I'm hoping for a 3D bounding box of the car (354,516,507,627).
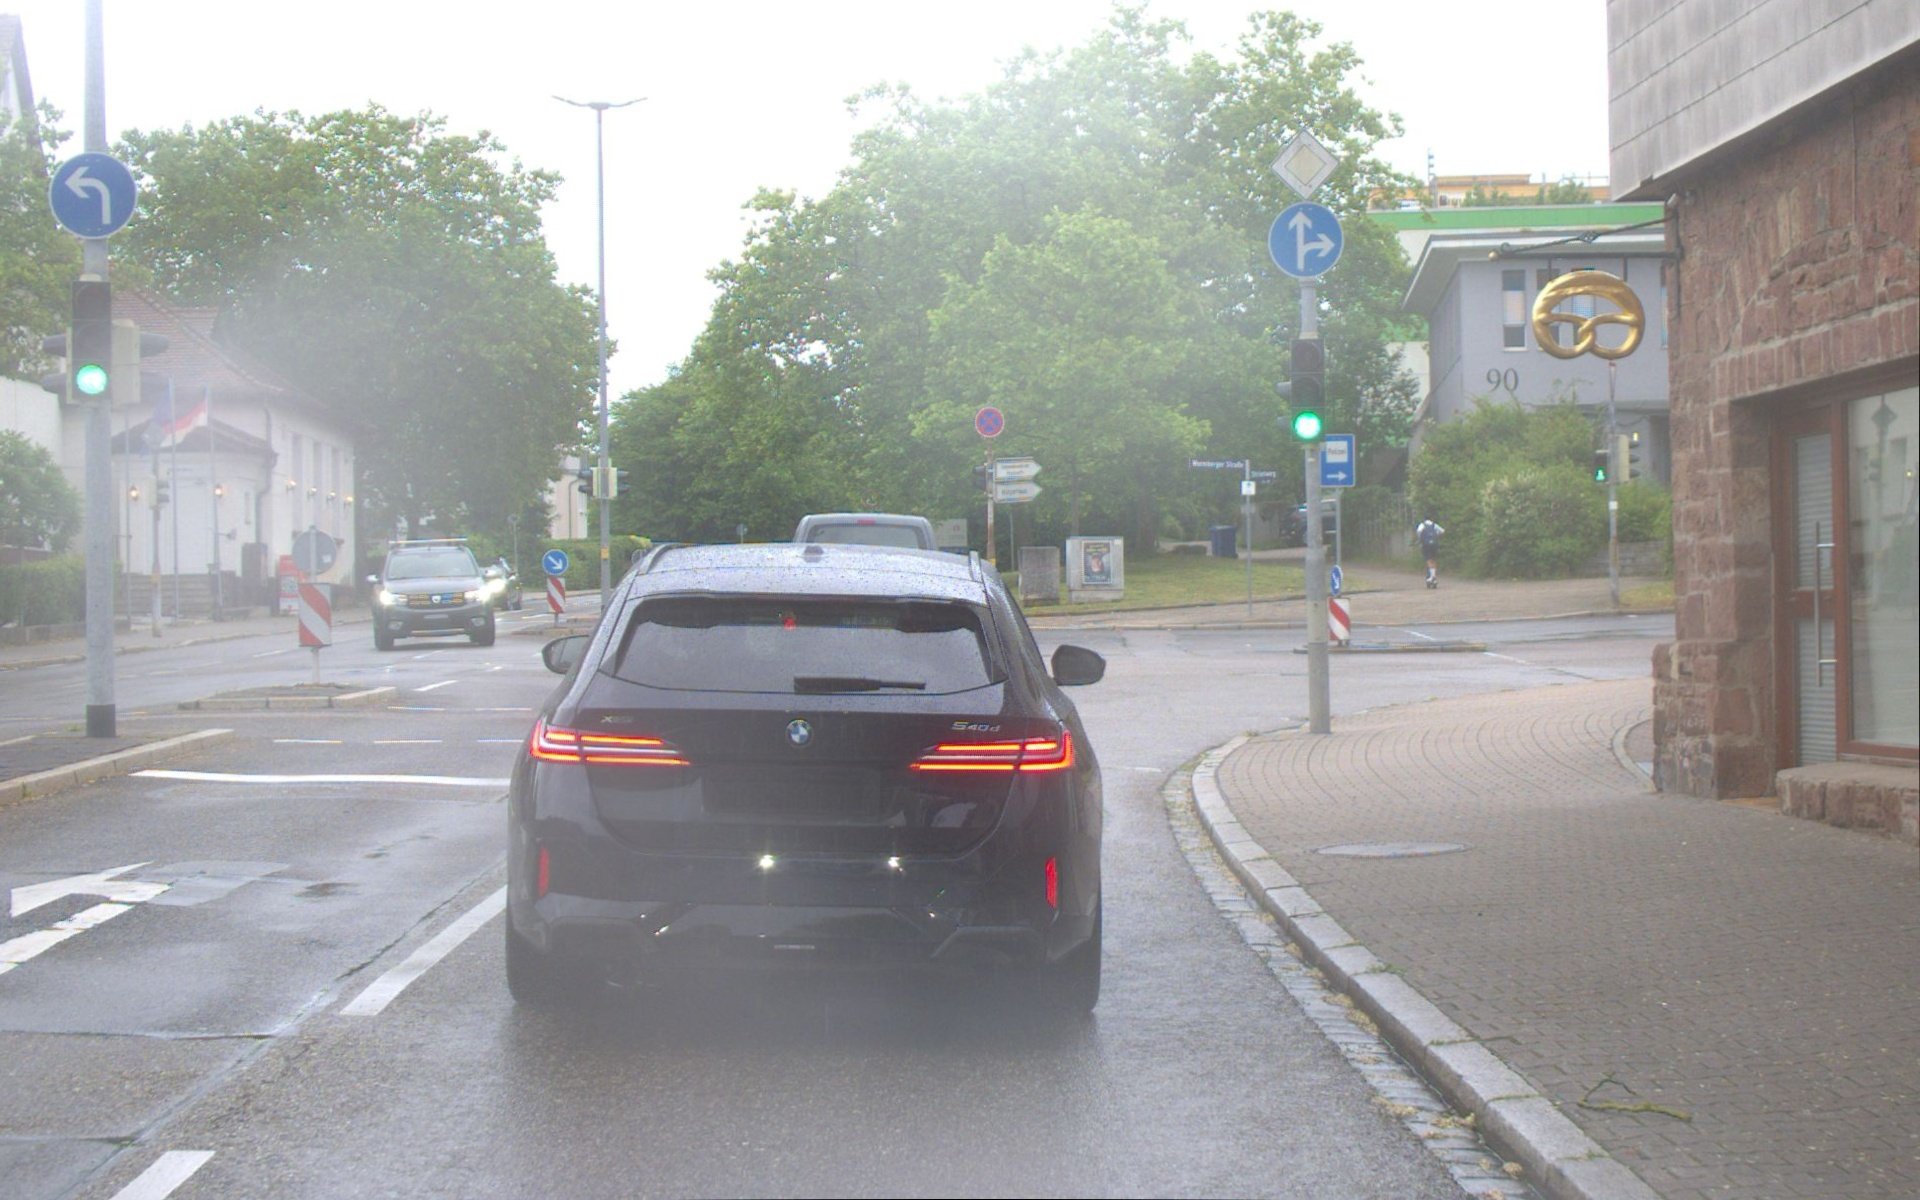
[{"bbox_3d":[-8.027,-0.474,52.442,1.898,1.572,4.503,-1,2,-4],"label":"car"}]

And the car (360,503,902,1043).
[{"bbox_3d":[-1.053,0.486,11.639,1.523,1.529,3.532,1,0,-4],"label":"car"}]

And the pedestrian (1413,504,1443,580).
[{"bbox_3d":[9.997,-1.245,73.443,0.601,1.611,0.525,1,0,6],"label":"pedestrian"}]

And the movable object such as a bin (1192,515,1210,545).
[{"bbox_3d":[7.499,-2.181,106.856,0.450,0.902,0.462,1,0,15],"label":"movable object such as a bin"}]

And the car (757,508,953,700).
[{"bbox_3d":[-1.111,0.023,34.568,1.812,1.802,3.757,1,0,-4],"label":"car"}]
